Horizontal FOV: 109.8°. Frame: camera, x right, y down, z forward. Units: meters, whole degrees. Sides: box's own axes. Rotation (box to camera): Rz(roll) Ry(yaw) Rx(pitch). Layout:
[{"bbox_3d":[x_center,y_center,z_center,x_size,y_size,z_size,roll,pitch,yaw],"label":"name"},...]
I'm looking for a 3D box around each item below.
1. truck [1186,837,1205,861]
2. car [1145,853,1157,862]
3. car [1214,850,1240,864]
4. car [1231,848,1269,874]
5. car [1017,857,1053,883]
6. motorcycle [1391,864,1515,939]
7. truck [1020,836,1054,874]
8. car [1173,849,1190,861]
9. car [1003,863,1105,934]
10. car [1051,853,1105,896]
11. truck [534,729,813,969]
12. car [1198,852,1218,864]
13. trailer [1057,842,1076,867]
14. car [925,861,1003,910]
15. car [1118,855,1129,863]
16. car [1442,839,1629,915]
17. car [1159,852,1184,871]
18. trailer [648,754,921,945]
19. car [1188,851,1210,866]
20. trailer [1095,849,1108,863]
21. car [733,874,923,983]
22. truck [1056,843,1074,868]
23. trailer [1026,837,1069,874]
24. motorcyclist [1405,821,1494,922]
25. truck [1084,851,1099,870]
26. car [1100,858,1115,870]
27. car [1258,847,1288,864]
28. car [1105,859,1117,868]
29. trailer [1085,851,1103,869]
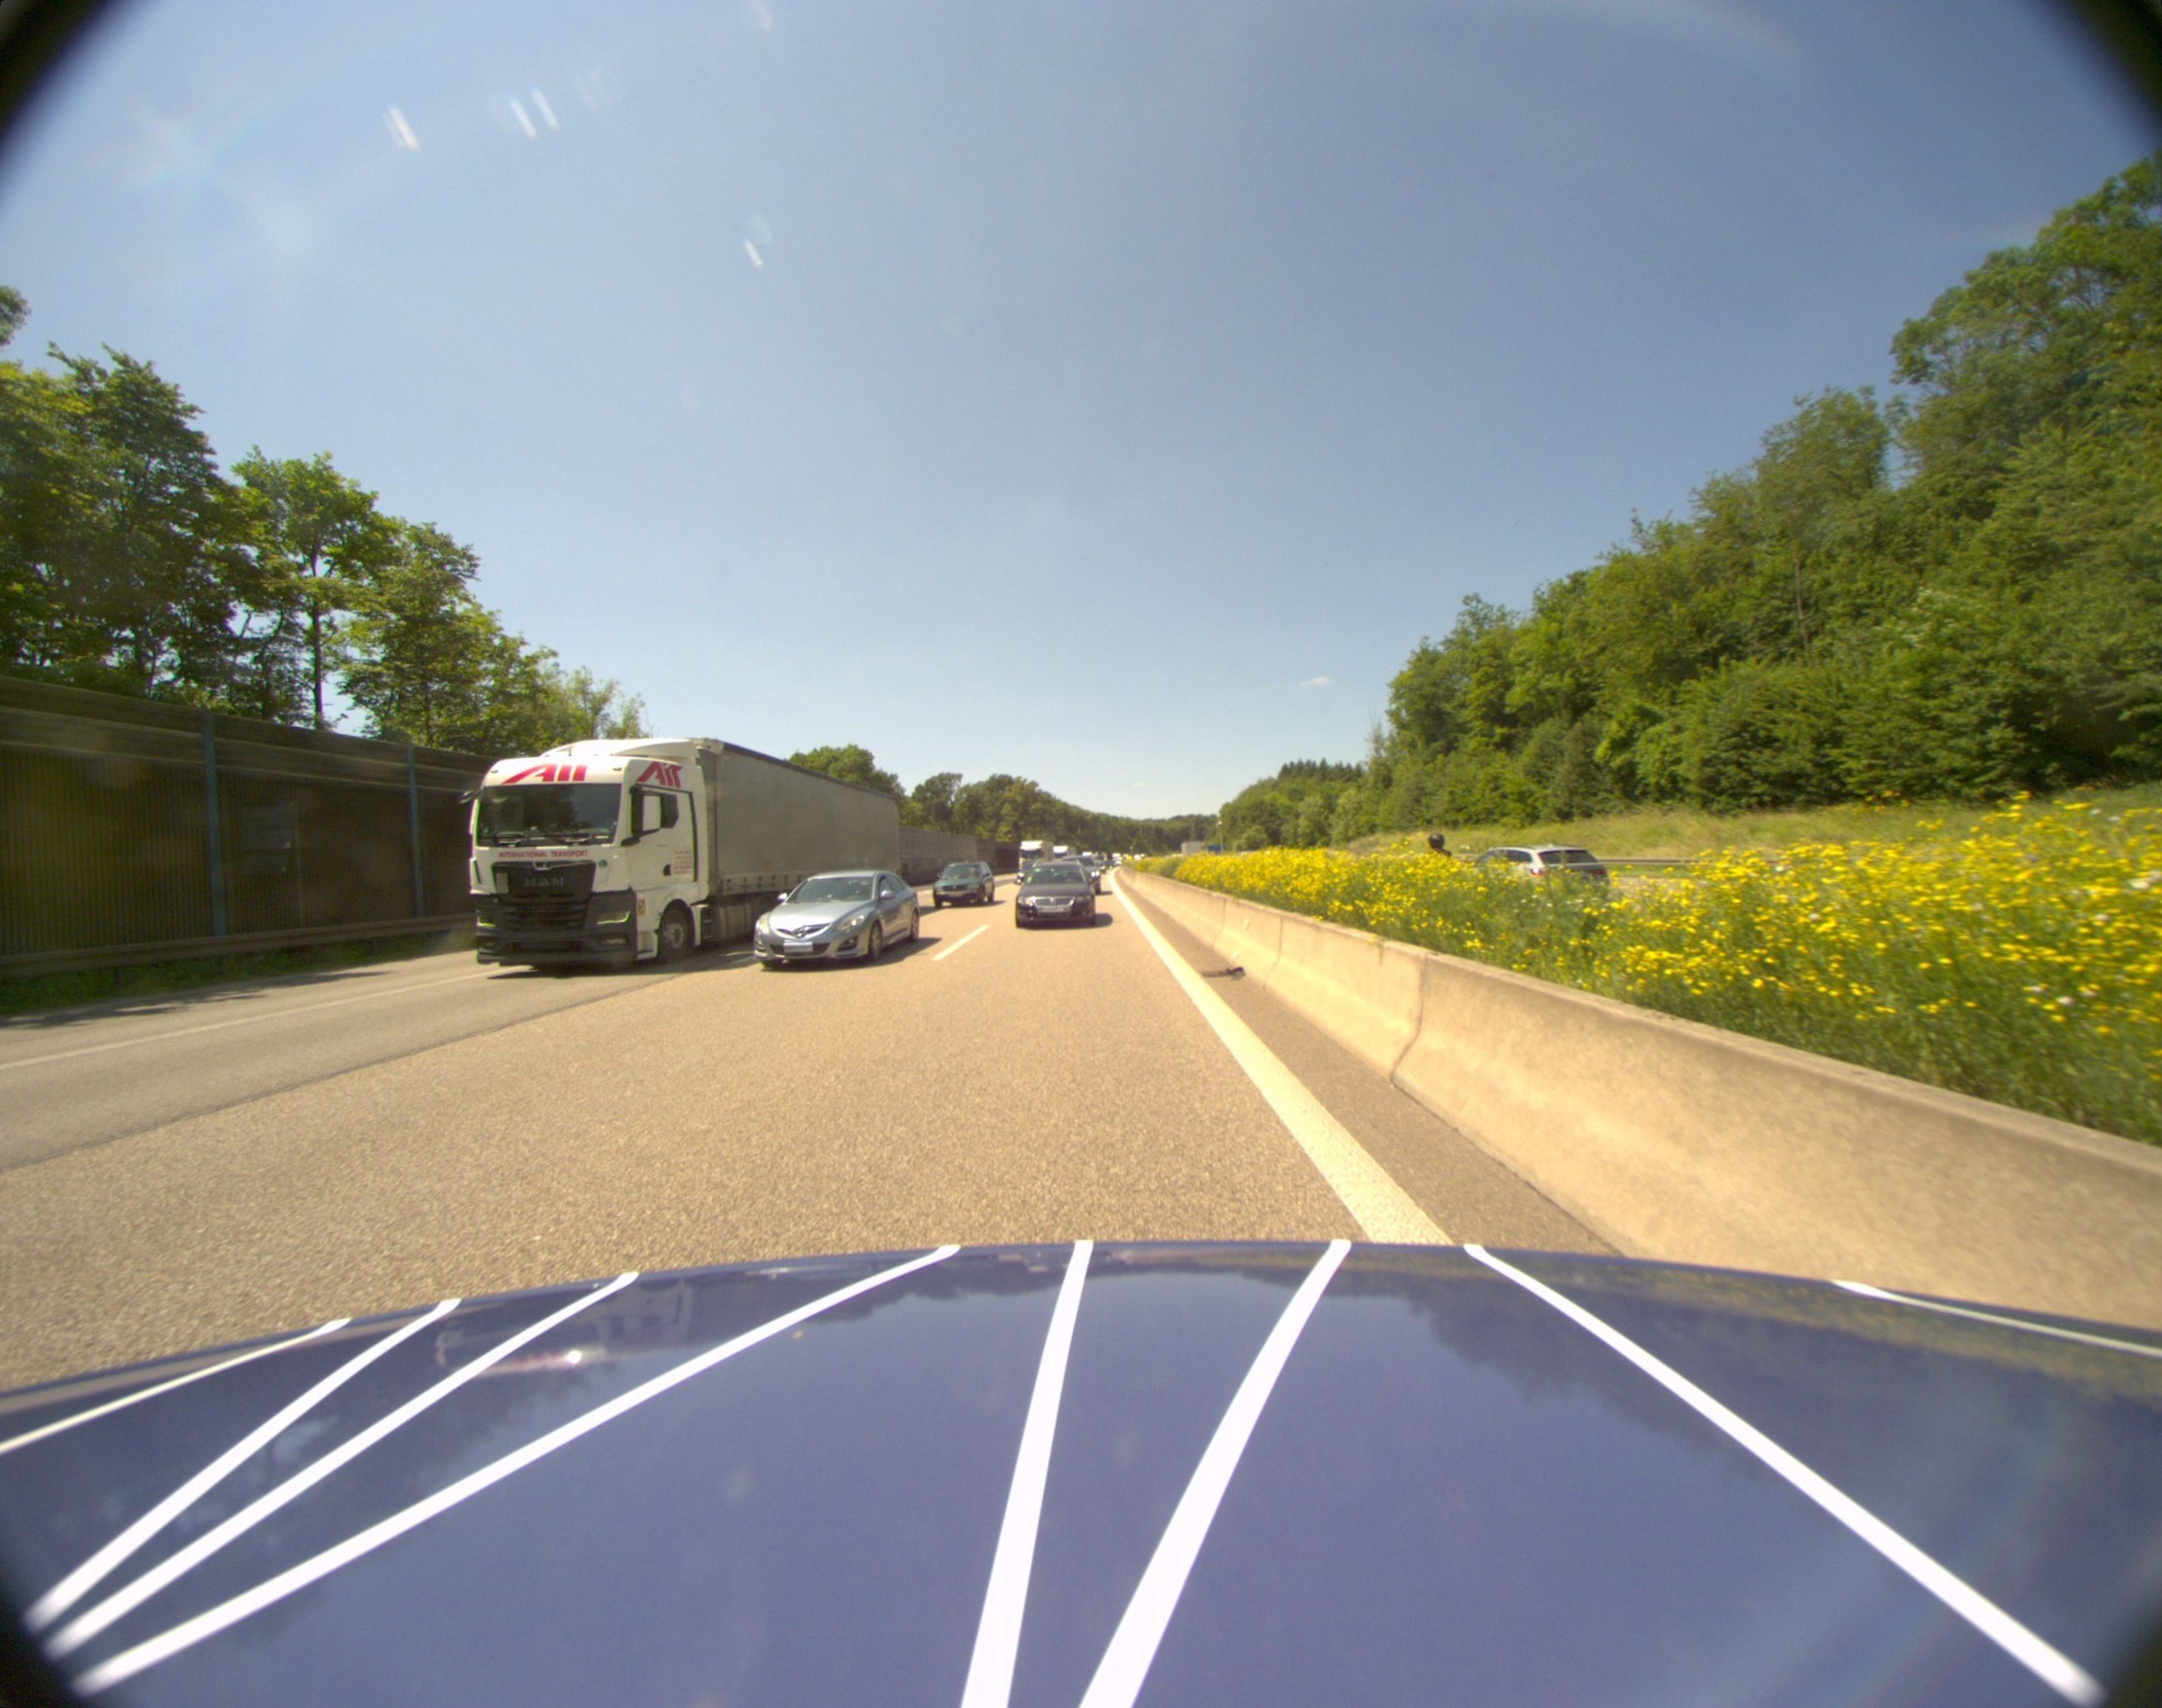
[{"bbox_3d":[20.181,-0.826,134.125,2.834,3.915,13.753,-2,0,7],"label":"truck"},{"bbox_3d":[12.993,0.624,141.182,1.943,1.494,4.659,-2,0,1],"label":"car"},{"bbox_3d":[15.603,0.338,81.177,1.998,1.435,4.007,-2,0,1],"label":"car"},{"bbox_3d":[12.080,0.464,54.422,1.741,1.723,4.148,-2,0,0],"label":"car"},{"bbox_3d":[-3.080,1.073,51.739,1.998,1.641,4.001,-2,0,2],"label":"car"},{"bbox_3d":[6.925,0.840,14.352,1.043,1.208,2.613,-2,0,1],"label":"motorcycle"},{"bbox_3d":[-5.084,0.141,88.661,2.810,4.190,5.425,-3,0,8],"label":"truck"},{"bbox_3d":[14.808,0.141,112.104,1.889,1.745,4.277,-2,0,1],"label":"car"},{"bbox_3d":[-0.515,0.971,18.015,1.907,1.410,4.002,-3,-1,5],"label":"car"},{"bbox_3d":[-0.065,0.837,32.316,1.998,1.641,4.001,-2,0,3],"label":"car"},{"bbox_3d":[-8.030,-0.089,15.932,2.604,4.066,5.553,-2,0,1],"label":"truck"},{"bbox_3d":[16.534,0.495,99.311,1.998,1.483,4.000,-2,0,1],"label":"car"},{"bbox_3d":[-2.480,0.108,133.283,2.542,4.149,10.179,-3,0,3],"label":"trailer"},{"bbox_3d":[-4.127,1.074,27.500,1.907,1.550,4.001,-3,-1,4],"label":"car"},{"bbox_3d":[9.543,1.152,170.846,1.997,1.641,4.002,-2,0,7],"label":"car"},{"bbox_3d":[10.556,0.479,18.093,1.844,1.513,4.357,-2,0,1],"label":"car"},{"bbox_3d":[7.910,0.638,66.521,1.741,1.489,4.000,-2,0,1],"label":"car"},{"bbox_3d":[-7.860,-0.101,23.278,2.604,4.066,13.592,-2,0,1],"label":"trailer"},{"bbox_3d":[13.547,0.536,87.440,1.998,1.563,4.065,-2,0,1],"label":"car"},{"bbox_3d":[6.164,0.575,224.699,3.154,4.060,6.186,-3,0,7],"label":"trailer"},{"bbox_3d":[-4.080,1.126,13.057,1.861,1.426,4.176,-3,-1,-1],"label":"car"},{"bbox_3d":[-2.722,0.252,128.490,2.545,4.149,4.746,-3,0,3],"label":"truck"},{"bbox_3d":[-4.050,0.179,96.075,2.820,4.189,13.473,-3,-1,8],"label":"trailer"},{"bbox_3d":[6.918,0.317,14.340,1.034,1.775,1.284,-2,0,0],"label":"motorcyclist"},{"bbox_3d":[2.568,1.564,188.977,2.852,4.381,5.243,-3,0,8],"label":"truck"},{"bbox_3d":[4.161,1.578,119.783,1.997,1.641,4.002,-2,0,7],"label":"car"},{"bbox_3d":[20.225,0.141,80.380,1.998,1.682,4.767,-2,0,1],"label":"car"},{"bbox_3d":[5.859,1.879,148.575,1.997,1.641,4.002,-2,0,7],"label":"car"},{"bbox_3d":[3.453,1.603,194.723,2.852,4.391,13.036,-3,-1,8],"label":"trailer"}]
